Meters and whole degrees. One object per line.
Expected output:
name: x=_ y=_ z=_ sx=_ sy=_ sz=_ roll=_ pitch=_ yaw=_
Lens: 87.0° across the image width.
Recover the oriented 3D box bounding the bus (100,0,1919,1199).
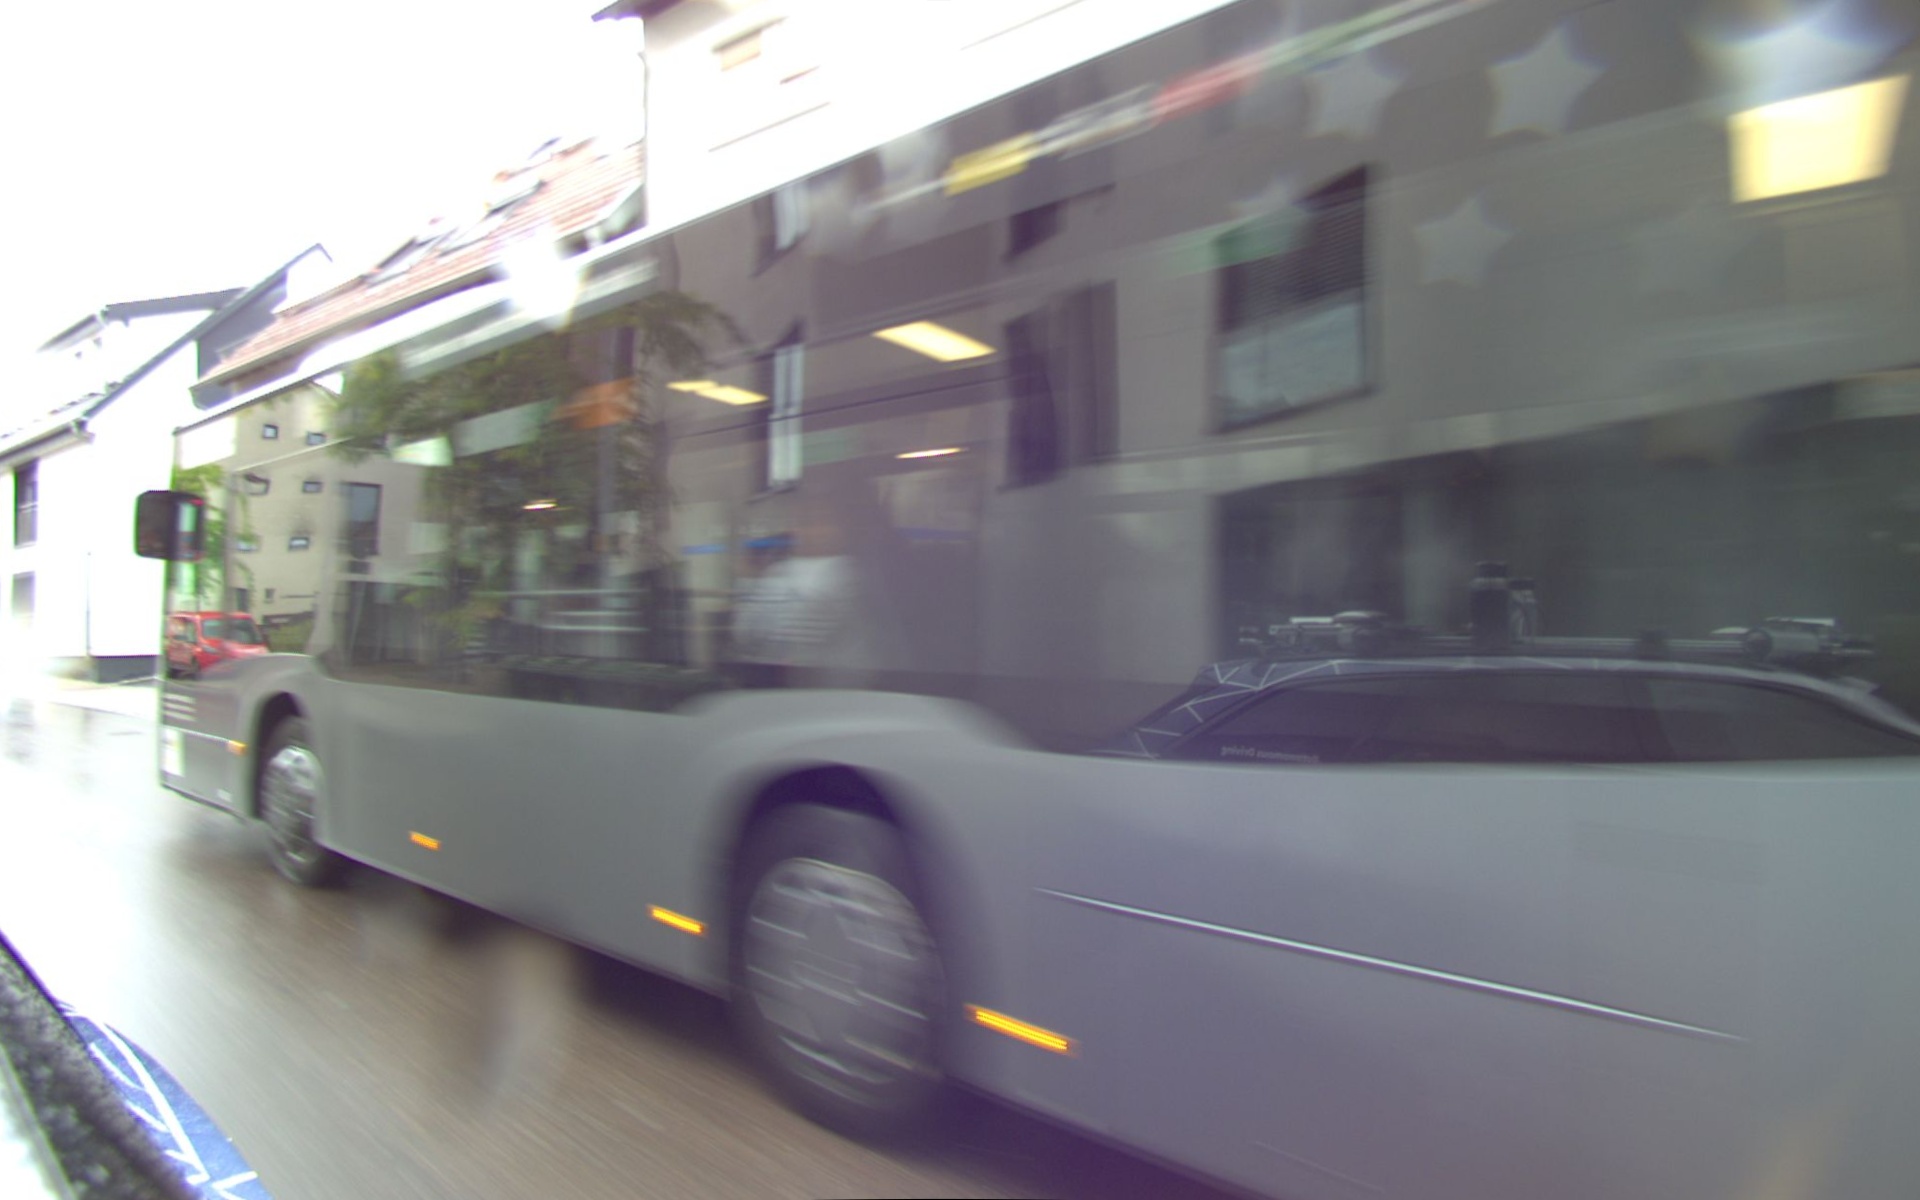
bus: x=-1.206 y=-0.003 z=4.989 sx=10.934 sy=3.103 sz=2.697 roll=-1 pitch=-1 yaw=39

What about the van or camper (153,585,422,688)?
van or camper: x=-16.100 y=0.759 z=24.545 sx=1.995 sy=1.947 sz=4.984 roll=0 pitch=4 yaw=34

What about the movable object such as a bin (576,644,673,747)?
movable object such as a bin: x=-3.788 y=1.055 z=11.446 sx=0.700 sy=1.067 sz=0.786 roll=-1 pitch=-1 yaw=35
